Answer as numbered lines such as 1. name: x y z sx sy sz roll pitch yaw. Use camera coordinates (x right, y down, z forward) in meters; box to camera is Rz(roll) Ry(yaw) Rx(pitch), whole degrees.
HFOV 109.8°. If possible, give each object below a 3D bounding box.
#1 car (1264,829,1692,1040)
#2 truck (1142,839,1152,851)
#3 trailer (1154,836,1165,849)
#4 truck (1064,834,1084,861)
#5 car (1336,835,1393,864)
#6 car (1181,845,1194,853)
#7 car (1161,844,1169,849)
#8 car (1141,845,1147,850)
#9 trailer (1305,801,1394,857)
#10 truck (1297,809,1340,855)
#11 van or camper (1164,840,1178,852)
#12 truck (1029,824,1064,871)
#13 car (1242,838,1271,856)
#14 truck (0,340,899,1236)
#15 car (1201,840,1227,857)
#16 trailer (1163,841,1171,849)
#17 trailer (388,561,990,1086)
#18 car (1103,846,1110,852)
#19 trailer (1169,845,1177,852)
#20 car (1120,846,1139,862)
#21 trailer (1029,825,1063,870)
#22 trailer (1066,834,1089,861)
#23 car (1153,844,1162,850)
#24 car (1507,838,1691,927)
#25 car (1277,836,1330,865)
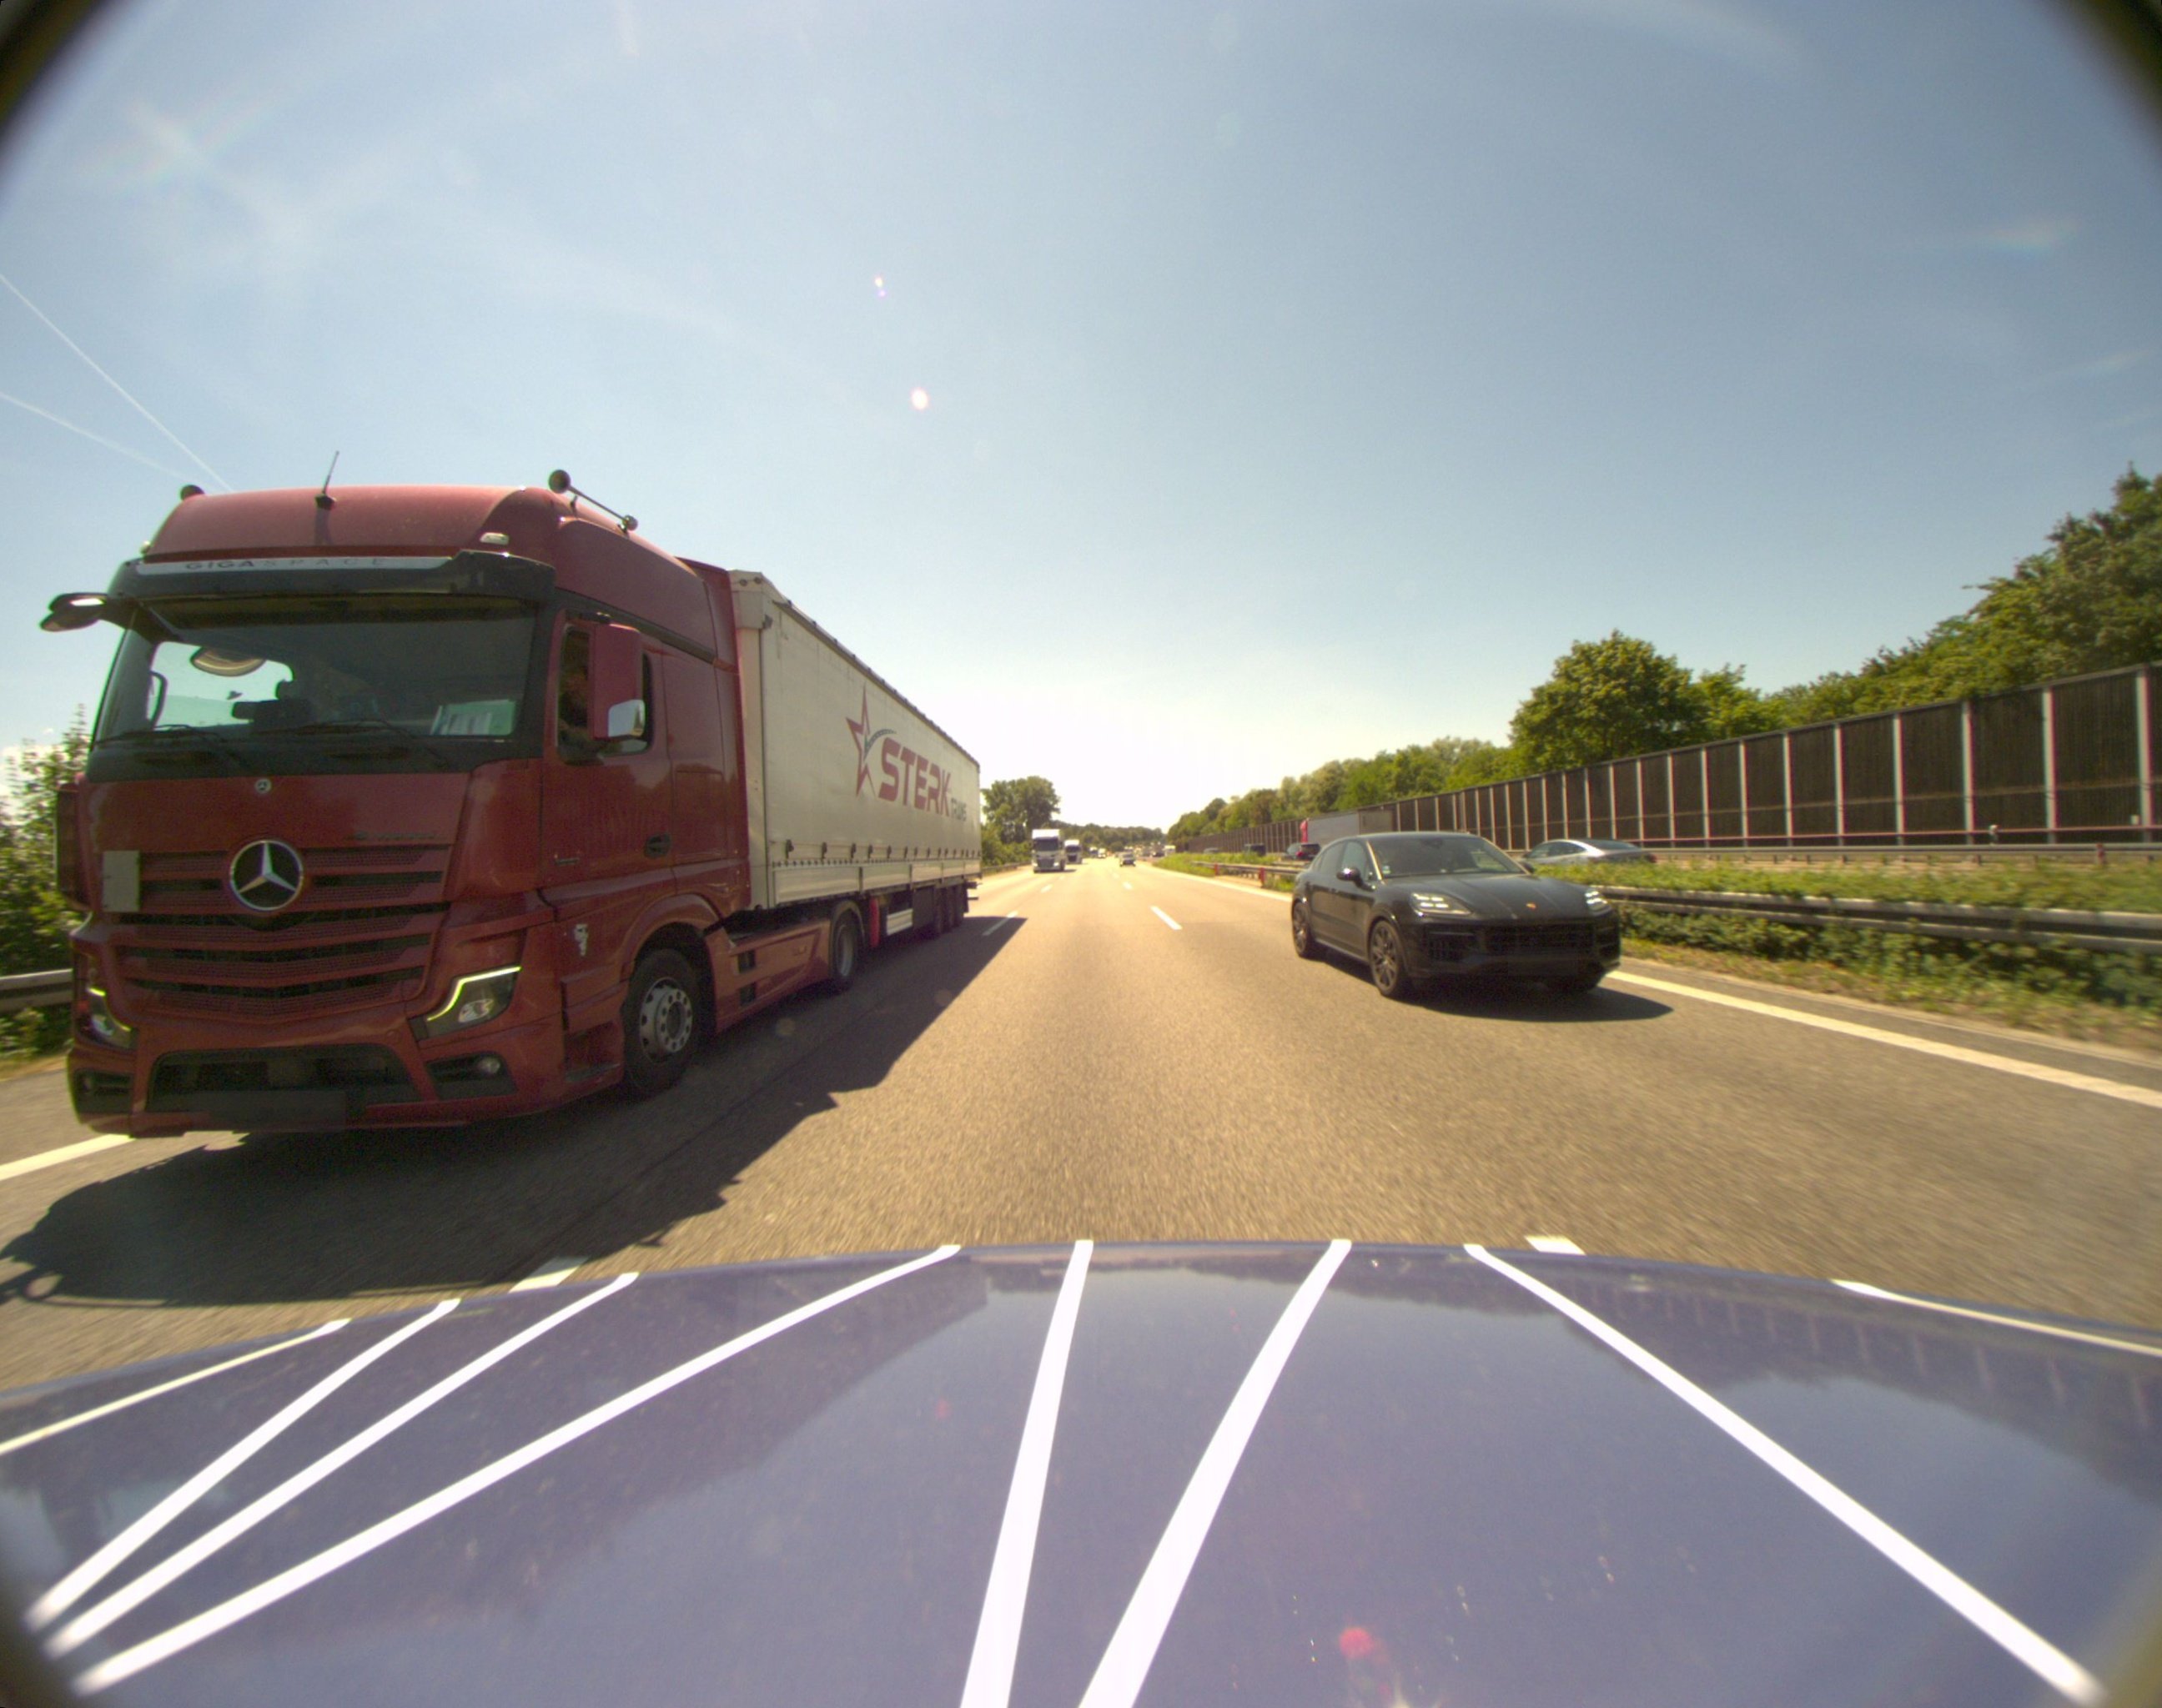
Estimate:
1. car: 3.867 0.630 8.952 2.049 1.615 5.771 -2 0 1
2. truck: 19.413 -2.695 223.454 2.416 3.333 6.919 -2 0 1
3. trailer: 25.072 -3.633 243.841 2.346 4.052 14.210 -2 0 2
4. truck: -1.114 -1.096 127.292 2.541 4.446 5.574 -2 1 5
5. car: 18.215 -0.282 49.087 1.998 1.710 4.532 -2 1 1
6. car: 20.596 -0.955 146.996 1.818 1.590 4.000 -2 0 1
7. car: 24.871 -2.207 224.189 1.924 1.367 4.582 -2 0 2
8. car: 21.571 -2.171 259.418 1.923 1.537 4.583 -2 0 4
9. trailer: 21.872 -1.906 63.062 2.502 4.064 14.270 -2 1 1
10. truck: 22.030 -1.974 70.684 2.493 4.064 4.677 -2 1 1
11. van or camper: 23.015 -2.009 194.514 2.564 2.897 7.375 4 1 1
12. truck: -3.262 -0.617 71.395 2.967 4.082 6.204 -2 0 -3
13. car: 18.924 -0.781 82.137 1.998 1.805 5.219 -2 1 1
14. truck: -4.058 -0.292 7.020 2.714 4.065 6.964 -2 1 2
15. car: 14.515 -0.577 83.172 1.998 1.710 4.245 -2 1 1
16. trailer: 30.100 -3.095 264.673 2.136 2.462 6.269 -2 0 1
17. trailer: -3.947 -0.286 13.111 2.714 4.065 14.150 -2 0 1
18. car: 7.943 -1.496 239.066 1.908 1.717 4.377 -2 1 5
19. trailer: 22.927 -1.350 189.296 1.731 1.569 3.092 4 1 0
20. car: 5.597 -0.028 88.204 1.909 1.717 4.375 -2 1 -1
21. trailer: -3.561 -0.632 76.803 2.967 4.082 12.528 -2 0 -3
22. trailer: -0.481 -1.171 134.155 2.541 4.446 14.164 -2 1 5
23. car: 16.729 -1.543 166.686 1.710 1.347 4.000 -2 0 1
24. car: 13.323 0.659 19.901 1.998 1.936 4.000 -5 0 1
25. car: 14.133 -0.242 48.542 1.998 1.710 4.532 -2 1 1
